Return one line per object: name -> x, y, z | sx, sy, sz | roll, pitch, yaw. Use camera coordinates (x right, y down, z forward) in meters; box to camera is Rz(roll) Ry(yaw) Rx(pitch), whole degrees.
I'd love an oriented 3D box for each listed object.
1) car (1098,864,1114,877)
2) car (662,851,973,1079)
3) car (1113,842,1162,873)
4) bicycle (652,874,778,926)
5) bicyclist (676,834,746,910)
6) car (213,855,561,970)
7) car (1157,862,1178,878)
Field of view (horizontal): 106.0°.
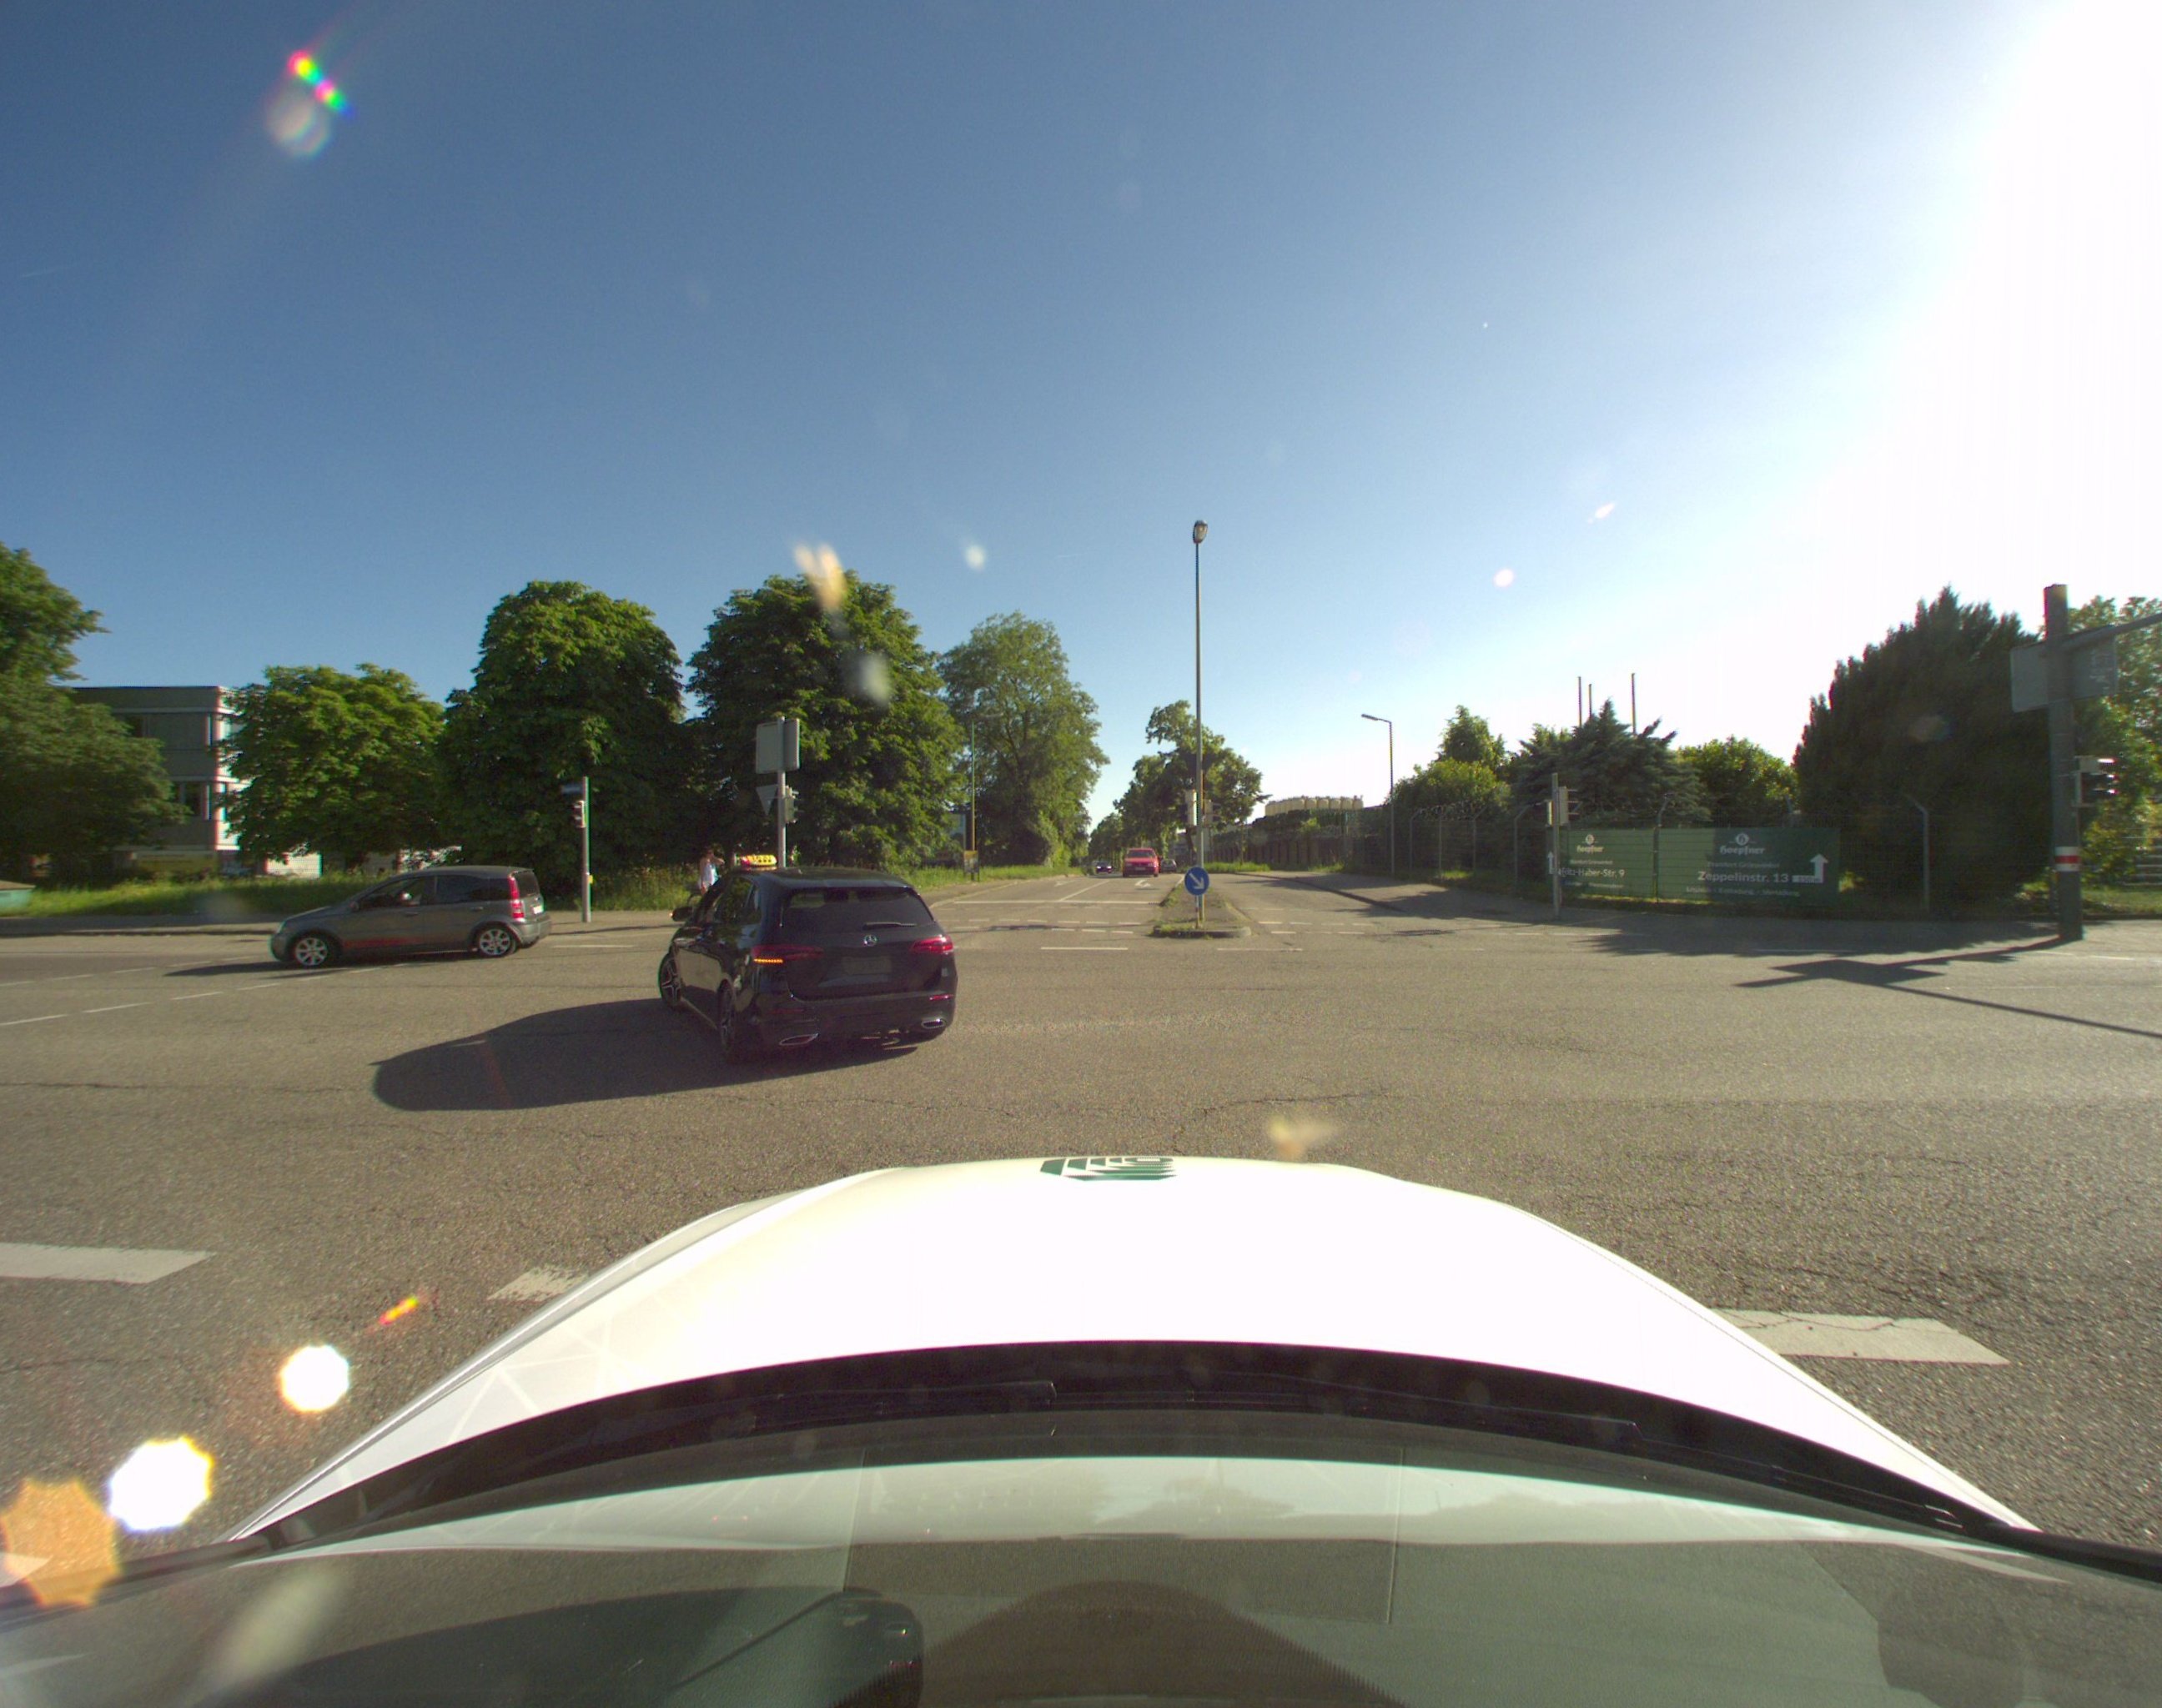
car -> 3.073, 1.978, 99.016 | 1.851, 1.470, 4.138 | -1, -1, 1
car -> -2.742, 0.791, 7.822 | 1.783, 1.592, 3.946 | 0, -1, -35
car -> 2.757, 0.188, 40.404 | 1.854, 1.470, 4.132 | -1, -1, -4
bicycle -> -8.476, 1.023, 18.830 | 2.917, 1.125, 0.908 | 0, -1, 24
bicyclist -> -8.573, 0.417, 18.876 | 1.175, 1.693, 0.897 | -1, -1, 24
car -> -11.188, 0.867, 13.525 | 4.003, 1.640, 1.797 | -1, -1, -23
car -> 8.860, 1.608, 83.222 | 1.685, 1.632, 3.128 | -1, -1, -2
